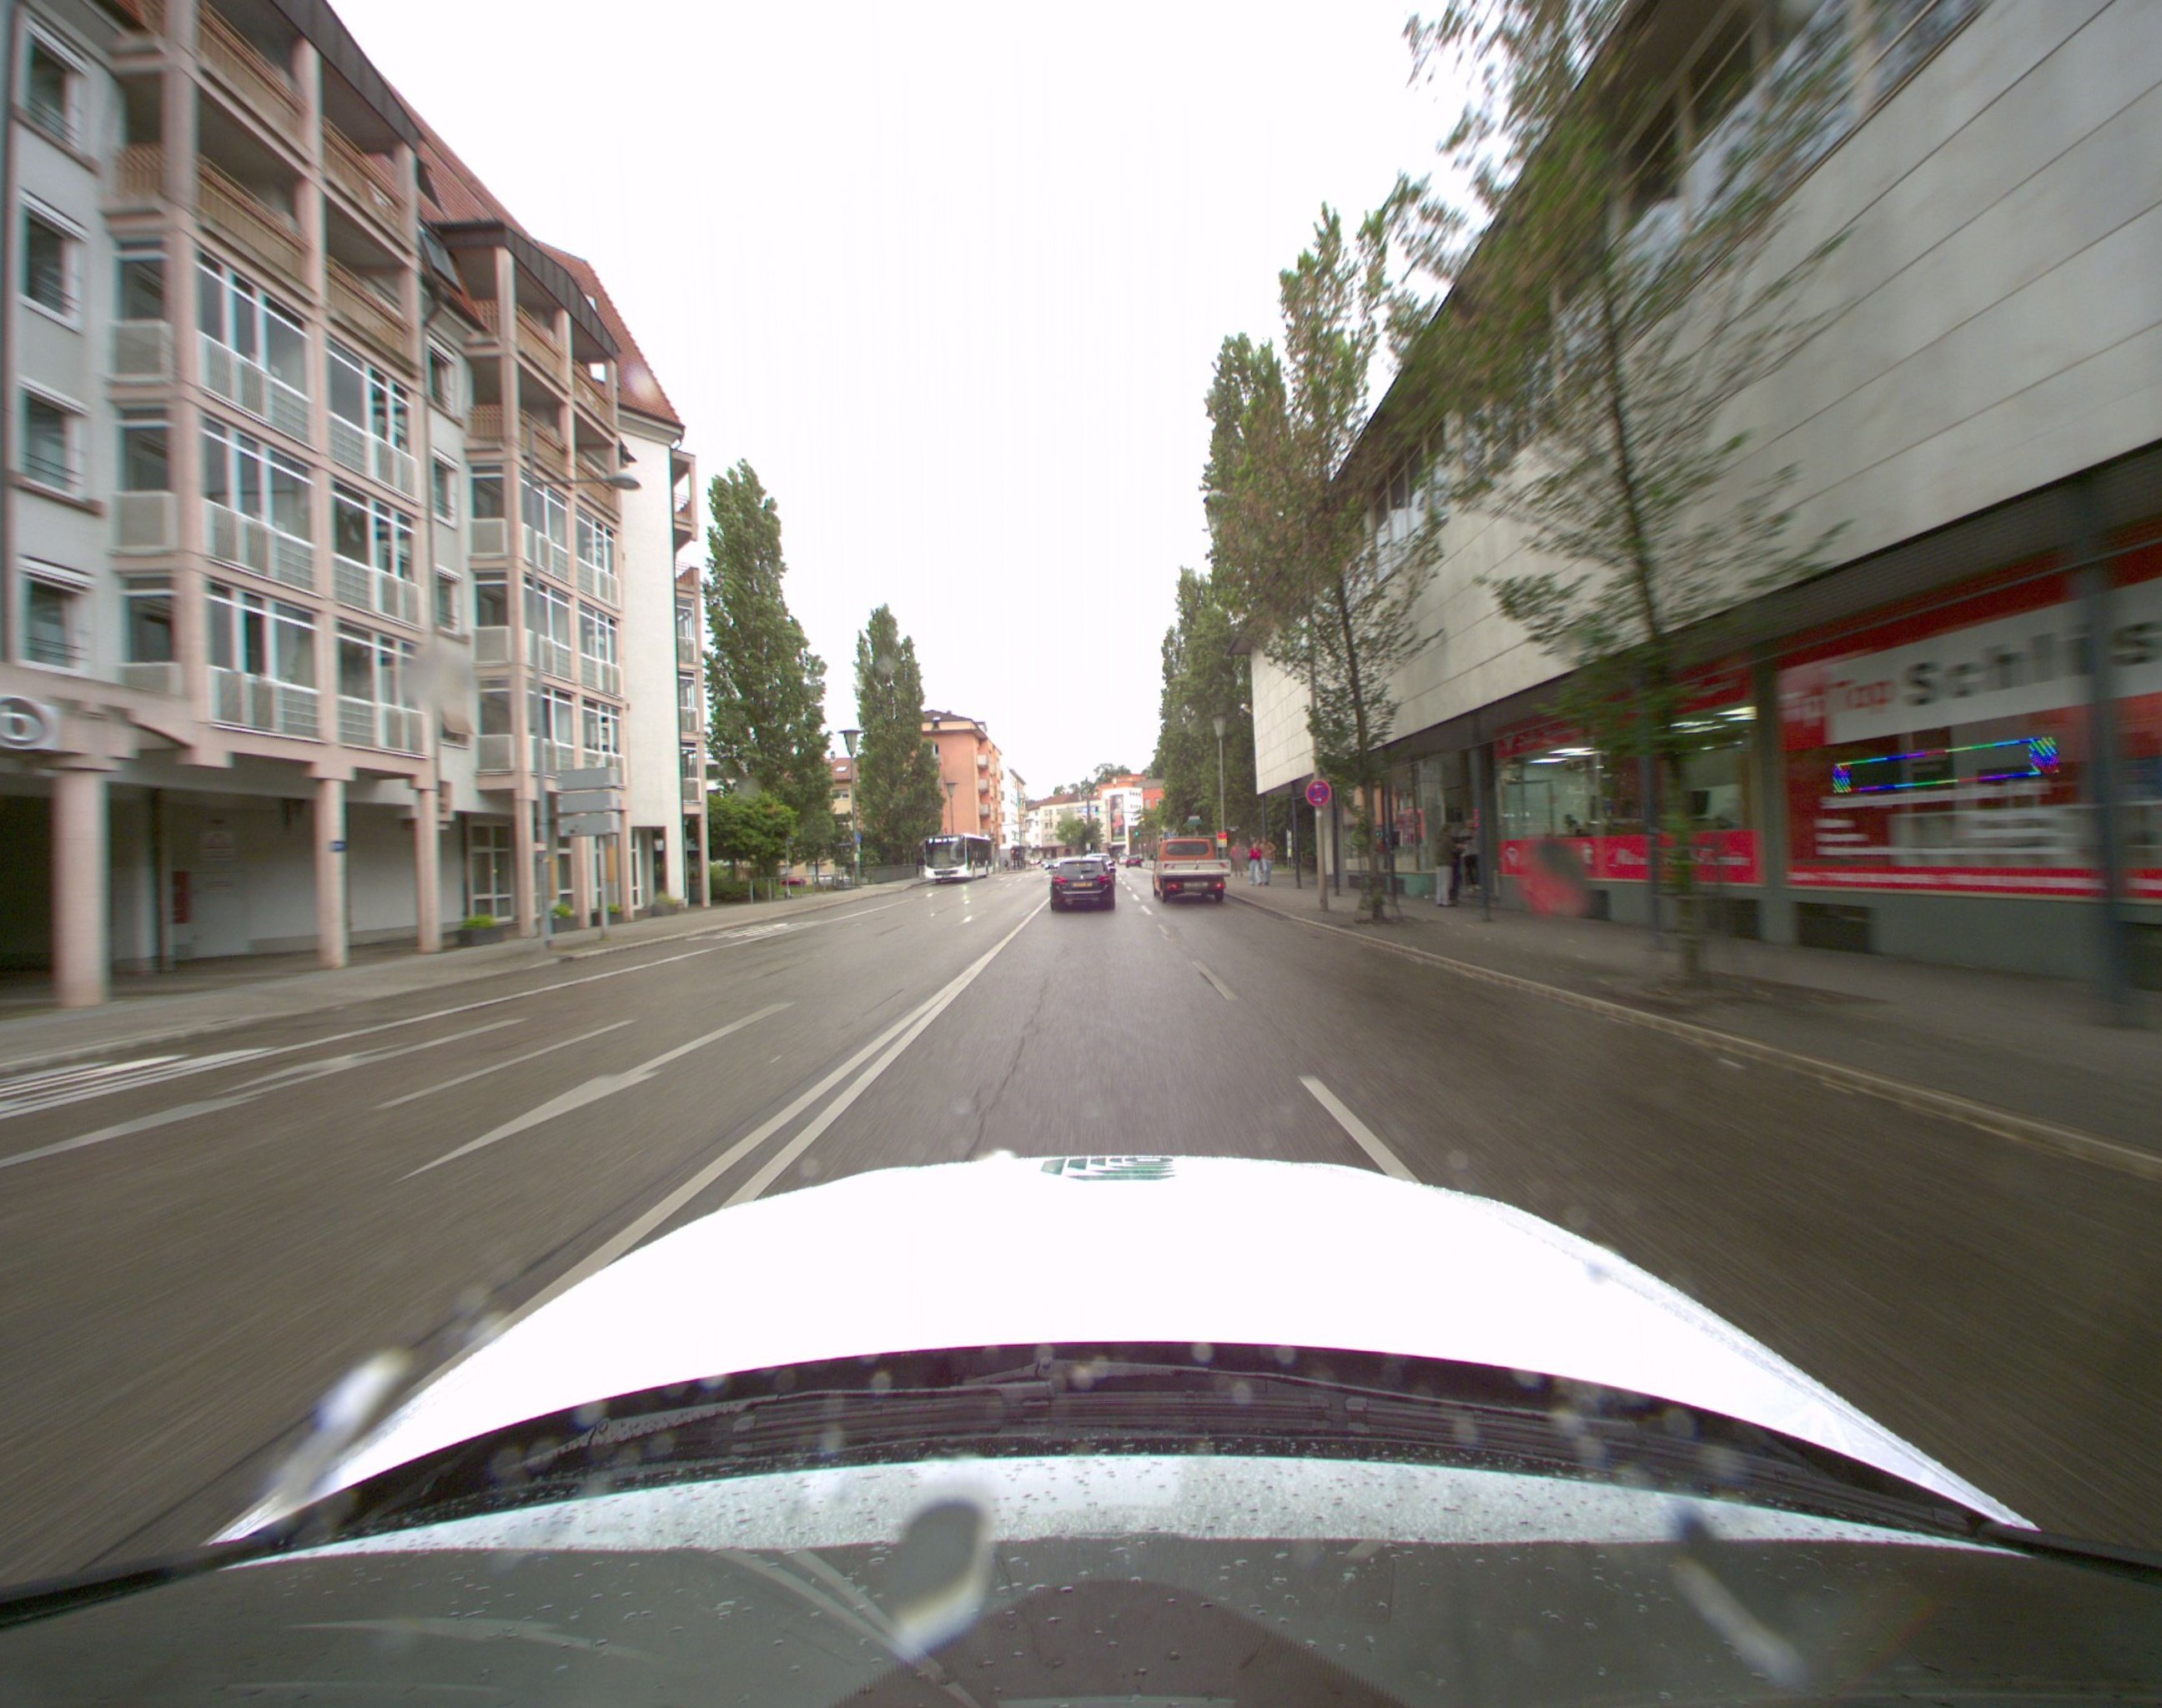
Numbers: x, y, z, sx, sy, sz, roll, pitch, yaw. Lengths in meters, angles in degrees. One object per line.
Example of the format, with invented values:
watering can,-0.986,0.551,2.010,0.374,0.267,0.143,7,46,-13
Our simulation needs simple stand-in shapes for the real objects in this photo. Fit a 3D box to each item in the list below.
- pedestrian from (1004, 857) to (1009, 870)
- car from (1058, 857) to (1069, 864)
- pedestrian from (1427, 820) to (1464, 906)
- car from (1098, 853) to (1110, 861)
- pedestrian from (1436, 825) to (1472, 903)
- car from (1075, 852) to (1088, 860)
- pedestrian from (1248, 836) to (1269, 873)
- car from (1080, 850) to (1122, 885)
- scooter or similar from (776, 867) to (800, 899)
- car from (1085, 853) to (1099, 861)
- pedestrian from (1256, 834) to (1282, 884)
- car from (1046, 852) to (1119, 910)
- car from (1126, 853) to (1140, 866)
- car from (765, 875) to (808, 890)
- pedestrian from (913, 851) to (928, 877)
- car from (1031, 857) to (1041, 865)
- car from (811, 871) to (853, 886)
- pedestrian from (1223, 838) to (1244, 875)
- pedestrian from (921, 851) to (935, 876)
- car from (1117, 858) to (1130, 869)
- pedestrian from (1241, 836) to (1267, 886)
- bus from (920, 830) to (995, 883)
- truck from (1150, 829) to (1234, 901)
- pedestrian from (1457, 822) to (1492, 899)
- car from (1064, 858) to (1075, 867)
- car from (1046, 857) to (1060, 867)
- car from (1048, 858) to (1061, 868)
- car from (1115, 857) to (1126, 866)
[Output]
pedestrian,-10.747,1.378,118.161,0.637,1.861,0.523,-2,0,-1
car,-3.647,1.331,170.370,1.666,1.399,3.861,-4,0,-11
pedestrian,7.966,0.198,17.798,0.533,1.820,0.536,-3,0,9
car,4.823,0.664,171.042,1.992,1.684,3.989,-3,0,-7
pedestrian,8.464,0.213,18.489,0.533,1.718,0.536,-3,0,9
car,0.071,0.461,178.813,1.652,1.564,3.571,1,-3,-23
pedestrian,7.996,0.029,36.685,0.723,1.589,0.607,-4,0,1
car,1.001,0.613,38.737,1.787,1.483,4.004,-3,0,4
scooter or similar,-13.537,1.320,37.659,0.480,1.313,1.570,-3,2,-3
car,2.449,0.737,182.365,1.652,1.564,3.571,1,-3,-23
pedestrian,6.980,0.173,30.247,0.696,1.801,0.607,-4,0,1
car,0.144,0.729,23.400,1.787,1.483,4.004,-1,-1,4
car,6.472,0.686,102.205,1.639,1.564,3.600,0,-2,1
car,-32.320,3.096,89.368,3.972,1.387,1.900,-2,0,2
pedestrian,-11.033,0.689,56.057,0.695,1.794,0.959,-2,-1,4
car,-10.383,1.581,186.387,1.991,1.684,3.992,-3,0,-5
car,-27.283,2.689,89.342,3.972,1.387,1.900,-4,0,1
pedestrian,6.973,0.107,37.215,0.714,1.620,0.769,-4,0,1
pedestrian,-11.468,0.710,61.152,0.793,1.794,0.813,-2,-1,3
car,7.528,1.629,144.557,1.986,1.821,4.001,-2,0,1
pedestrian,6.439,0.259,30.376,0.651,1.767,0.923,-4,0,1
bus,-8.091,0.024,55.167,2.734,3.075,12.243,-3,1,2
truck,3.384,0.331,25.744,2.114,2.025,4.717,-1,0,2
pedestrian,9.051,0.146,18.748,0.533,1.718,0.536,-3,0,11
car,-2.020,1.465,141.980,1.659,1.399,3.877,-4,0,1
car,-4.102,1.168,119.608,1.785,1.325,4.407,-3,0,1
car,-4.401,1.476,136.251,1.829,1.510,4.822,-3,0,1
car,7.475,1.358,154.929,1.641,1.564,3.595,0,-2,-3
